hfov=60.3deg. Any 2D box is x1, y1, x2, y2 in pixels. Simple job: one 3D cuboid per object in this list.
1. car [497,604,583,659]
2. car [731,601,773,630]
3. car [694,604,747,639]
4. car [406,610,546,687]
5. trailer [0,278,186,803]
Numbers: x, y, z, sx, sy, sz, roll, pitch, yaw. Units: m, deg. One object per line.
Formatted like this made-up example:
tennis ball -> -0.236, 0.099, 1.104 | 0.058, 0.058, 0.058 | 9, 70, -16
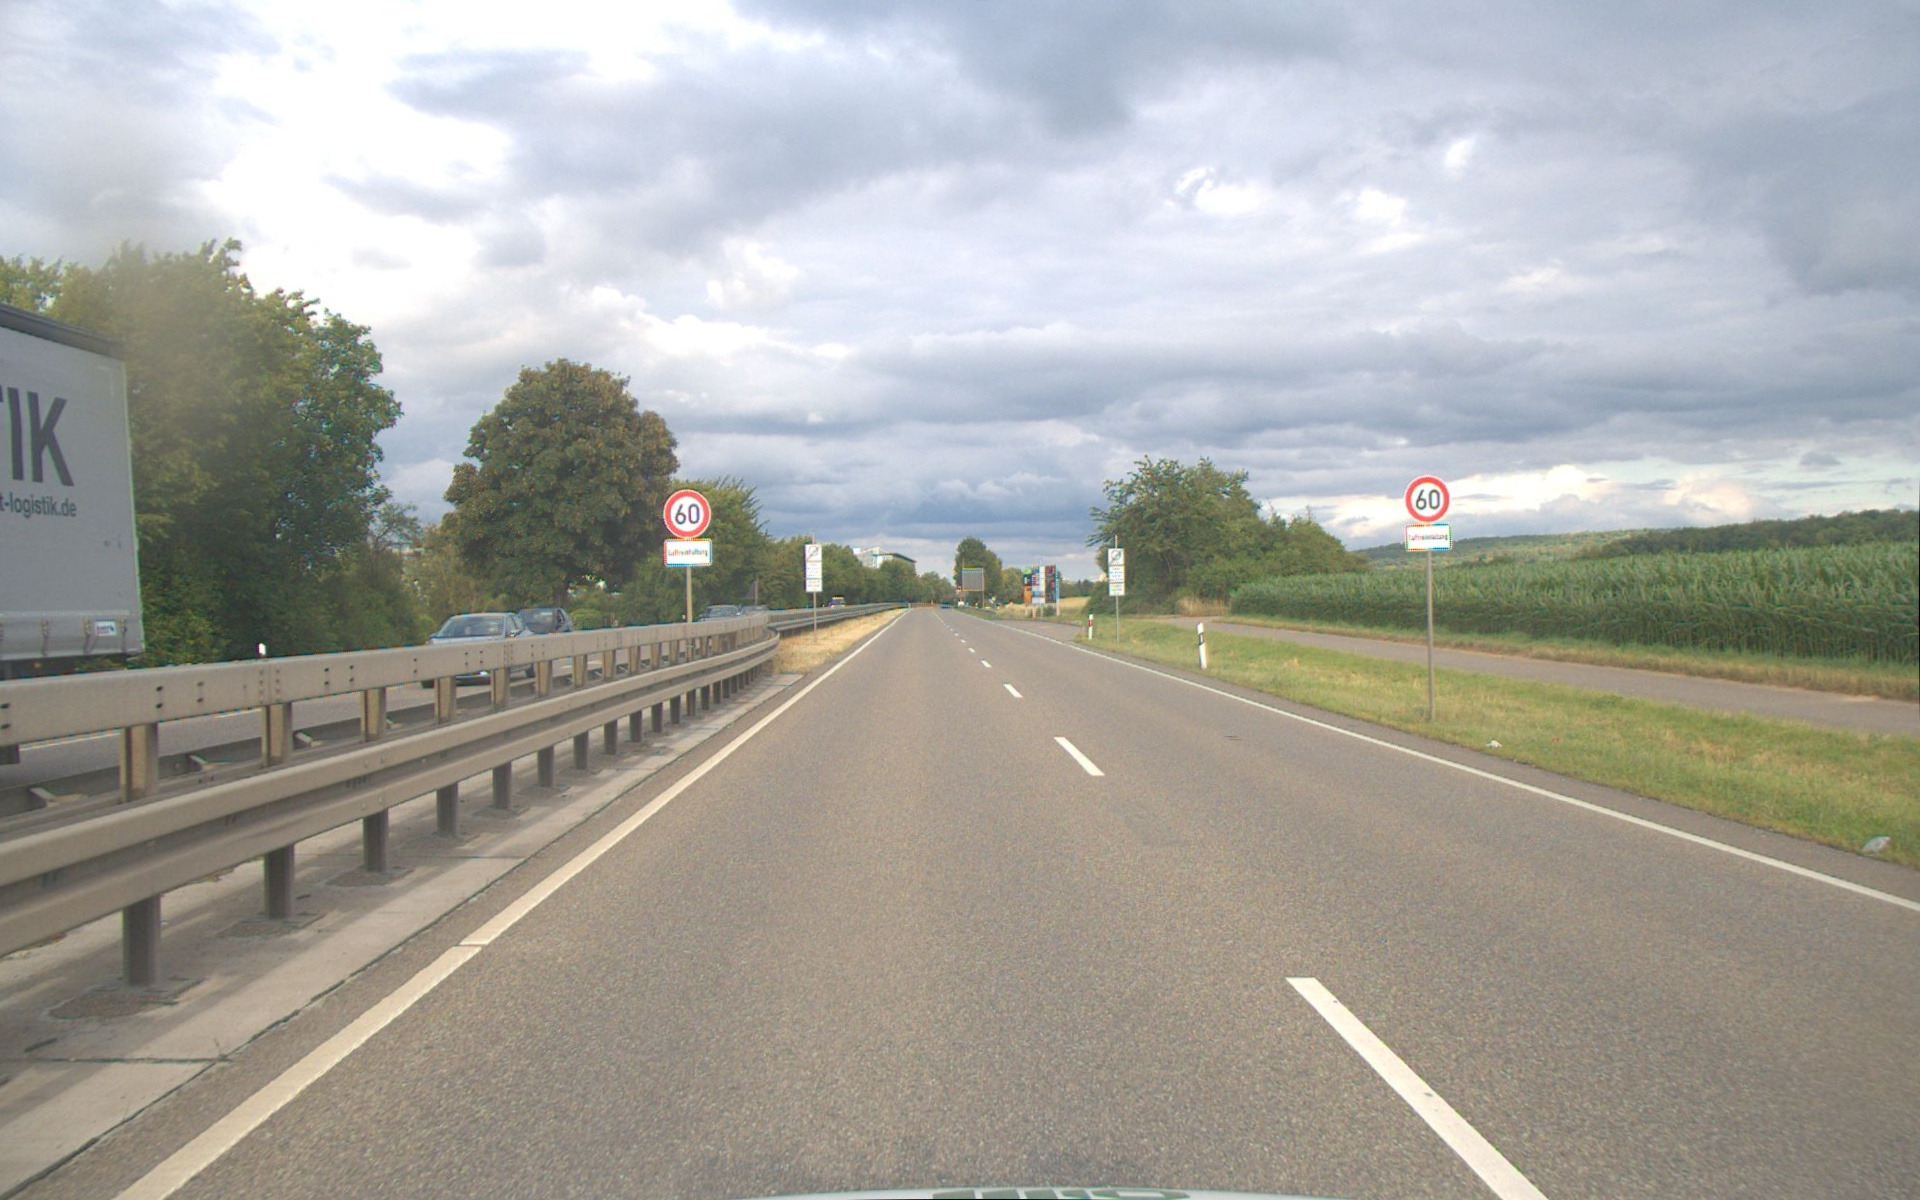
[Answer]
car -> -13.426, 0.965, 53.059 | 1.753, 1.601, 4.159 | -2, 0, -2
car -> -11.598, 0.845, 92.402 | 1.829, 1.503, 4.934 | -2, 0, -2
car -> -11.128, 0.973, 77.171 | 1.829, 1.503, 4.824 | -2, 0, -2
car -> -9.985, 0.956, 34.444 | 1.753, 1.410, 4.159 | -2, 0, -2
trailer -> -9.288, -0.408, 9.337 | 3.395, 4.222, 13.912 | -3, 0, -1
